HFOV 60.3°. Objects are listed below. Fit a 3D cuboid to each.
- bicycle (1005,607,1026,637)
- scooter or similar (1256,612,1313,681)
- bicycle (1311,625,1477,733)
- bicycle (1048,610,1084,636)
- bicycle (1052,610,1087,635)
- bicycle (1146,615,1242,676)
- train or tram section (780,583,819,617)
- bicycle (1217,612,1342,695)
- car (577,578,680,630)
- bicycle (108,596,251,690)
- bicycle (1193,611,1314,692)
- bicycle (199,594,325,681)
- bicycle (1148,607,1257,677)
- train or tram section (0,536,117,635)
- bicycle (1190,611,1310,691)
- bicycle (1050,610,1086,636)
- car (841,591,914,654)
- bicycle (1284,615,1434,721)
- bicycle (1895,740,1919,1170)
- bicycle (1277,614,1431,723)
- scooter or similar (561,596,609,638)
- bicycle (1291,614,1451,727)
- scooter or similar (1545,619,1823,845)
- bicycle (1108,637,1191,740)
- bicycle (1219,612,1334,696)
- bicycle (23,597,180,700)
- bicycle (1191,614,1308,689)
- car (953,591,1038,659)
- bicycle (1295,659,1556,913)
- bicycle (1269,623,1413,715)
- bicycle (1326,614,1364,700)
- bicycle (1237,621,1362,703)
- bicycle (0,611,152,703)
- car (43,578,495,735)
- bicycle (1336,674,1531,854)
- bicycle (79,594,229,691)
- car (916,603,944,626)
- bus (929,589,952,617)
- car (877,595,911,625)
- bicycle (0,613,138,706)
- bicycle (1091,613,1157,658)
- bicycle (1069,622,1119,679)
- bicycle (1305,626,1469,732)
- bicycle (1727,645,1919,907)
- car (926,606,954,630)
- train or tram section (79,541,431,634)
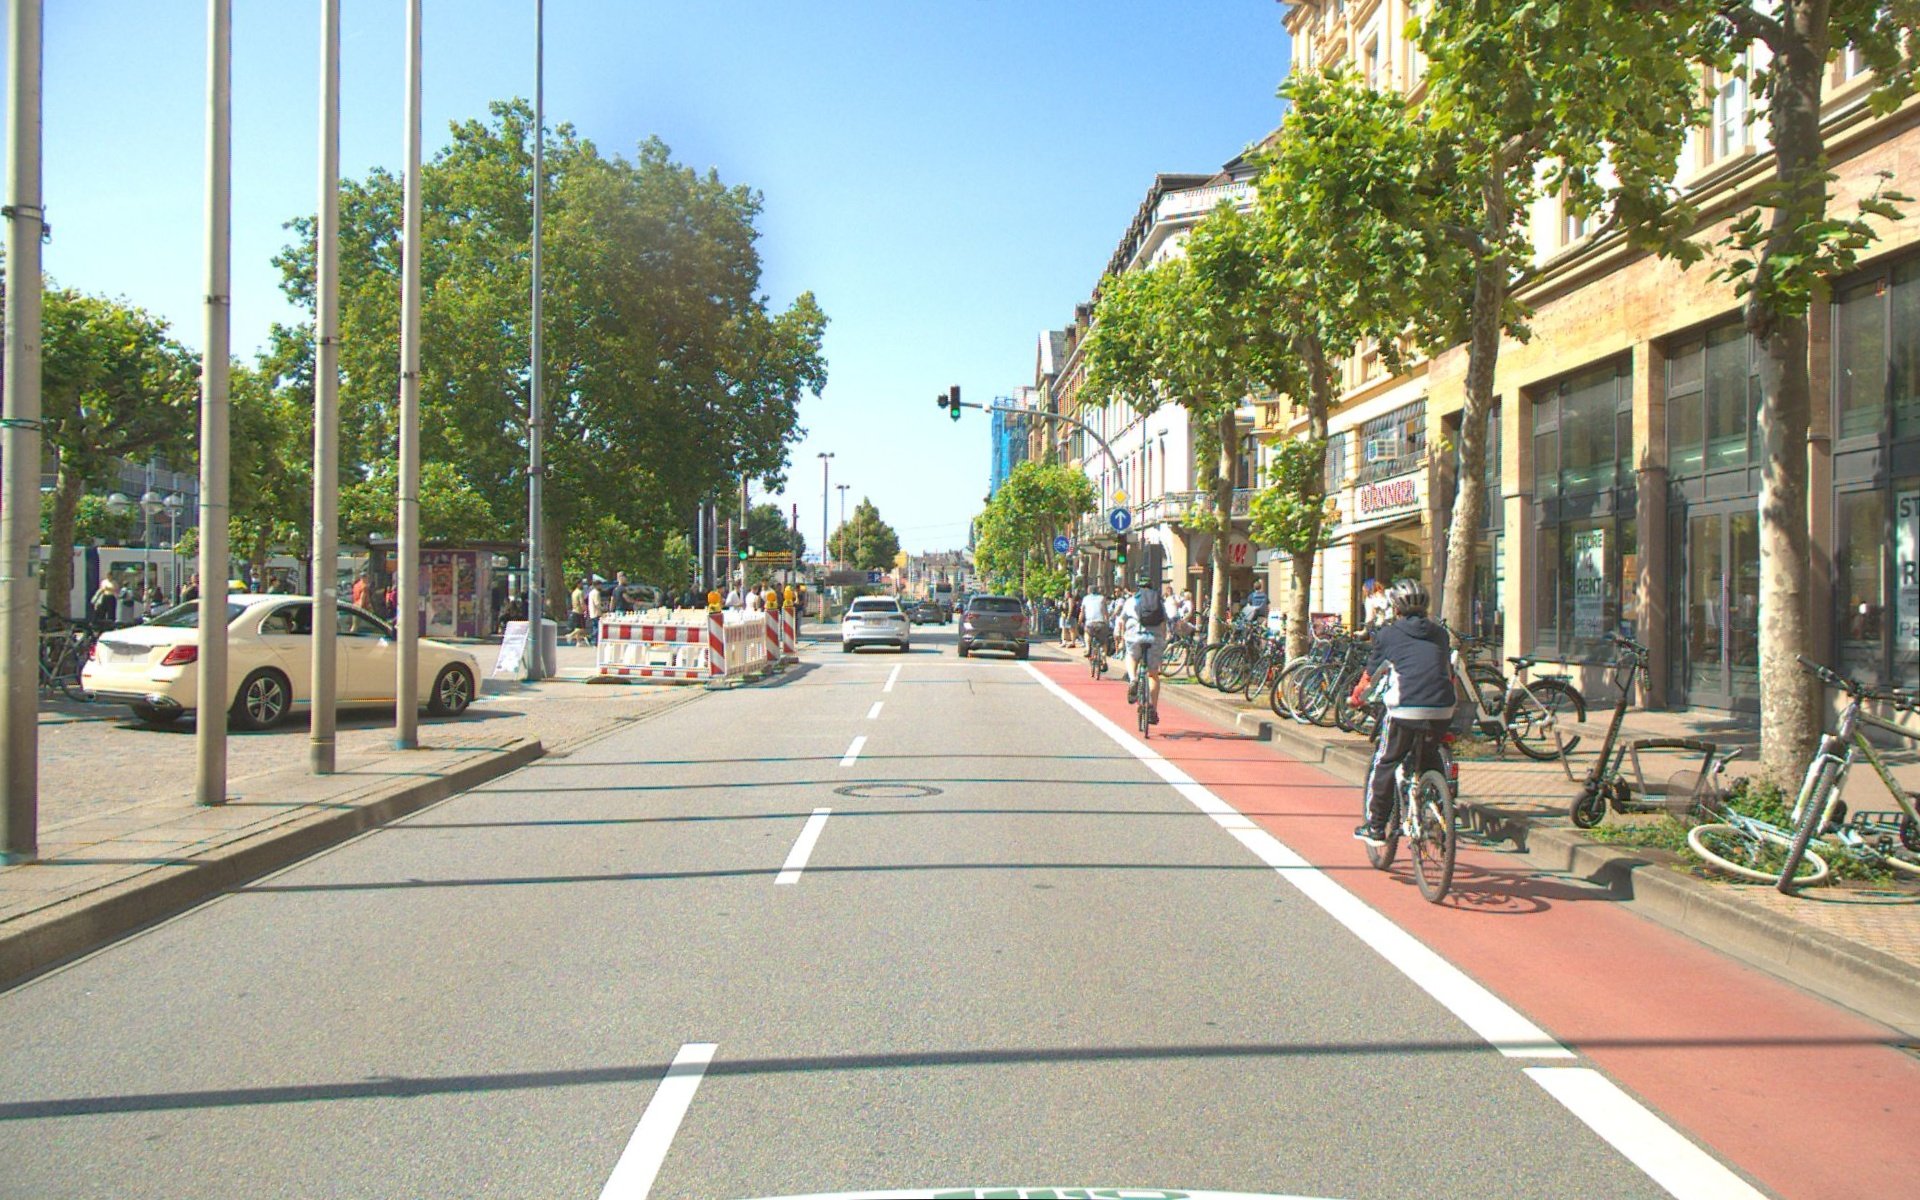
[{"bbox_3d":[1.954,0.769,58.657,0.634,1.015,2.030,1,0,-1],"label":"bicycle"},{"bbox_3d":[5.809,0.826,29.664,0.414,1.198,1.224,1,0,-21],"label":"scooter or similar"},{"bbox_3d":[4.713,0.854,17.995,1.692,1.128,0.402,1,0,1],"label":"bicycle"},{"bbox_3d":[4.176,0.915,65.412,1.391,0.997,0.445,-1,1,-1],"label":"bicycle"},{"bbox_3d":[4.437,0.917,67.261,1.391,0.997,0.401,-1,1,-1],"label":"bicycle"},{"bbox_3d":[4.490,0.871,31.737,1.746,1.142,0.562,0,0,-4],"label":"bicycle"},{"bbox_3d":[-16.873,-0.023,174.790,2.558,3.407,11.005,1,0,2],"label":"train or tram section"},{"bbox_3d":[4.841,0.806,25.138,1.805,1.222,0.474,1,0,1],"label":"bicycle"},{"bbox_3d":[-13.188,0.190,66.007,1.820,1.989,4.762,0,-1,20],"label":"car"},{"bbox_3d":[-11.401,0.625,24.188,1.746,1.332,0.662,1,0,-4],"label":"bicycle"},{"bbox_3d":[4.595,0.801,25.939,1.805,1.222,0.545,1,0,1],"label":"bicycle"},{"bbox_3d":[-11.628,0.614,27.592,1.746,1.371,0.740,2,0,-4],"label":"bicycle"},{"bbox_3d":[4.527,0.779,30.858,1.904,1.279,0.701,1,0,-21],"label":"bicycle"},{"bbox_3d":[-38.009,-0.565,62.642,2.567,3.741,10.967,1,0,34],"label":"train or tram section"},{"bbox_3d":[4.623,0.807,26.446,1.805,1.222,0.608,1,0,1],"label":"bicycle"},{"bbox_3d":[4.318,0.914,65.876,1.391,0.997,0.445,-1,1,-1],"label":"bicycle"},{"bbox_3d":[-2.166,0.566,44.297,1.808,1.587,3.999,0,0,-1],"label":"car"},{"bbox_3d":[4.809,0.809,19.993,1.692,1.238,0.477,1,0,1],"label":"bicycle"},{"bbox_3d":[3.006,0.971,3.546,0.684,1.146,2.079,2,0,-4],"label":"bicycle"},{"bbox_3d":[4.634,0.803,19.499,1.692,1.238,0.477,1,0,1],"label":"bicycle"},{"bbox_3d":[-13.029,0.600,57.534,1.252,1.445,1.037,0,-1,29],"label":"scooter or similar"},{"bbox_3d":[4.653,0.793,18.774,1.692,1.238,0.477,1,0,1],"label":"bicycle"},{"bbox_3d":[4.482,0.792,10.330,1.443,1.297,0.670,2,0,10],"label":"scooter or similar"},{"bbox_3d":[2.078,0.951,18.356,0.617,0.997,2.088,1,0,-2],"label":"bicycle"},{"bbox_3d":[4.722,0.803,24.723,1.615,1.222,0.474,1,0,1],"label":"bicycle"},{"bbox_3d":[-11.382,0.640,21.967,1.746,1.332,0.562,1,0,-4],"label":"bicycle"},{"bbox_3d":[4.729,0.833,27.078,1.805,1.184,0.659,1,0,1],"label":"bicycle"},{"bbox_3d":[0.857,0.596,41.967,1.809,1.586,3.997,1,0,-3],"label":"car"},{"bbox_3d":[2.480,0.943,9.091,0.684,1.146,2.079,2,0,-4],"label":"bicycle"},{"bbox_3d":[4.819,0.869,20.989,1.692,1.114,0.607,1,0,1],"label":"bicycle"},{"bbox_3d":[5.707,0.821,24.547,0.462,1.208,1.656,1,0,11],"label":"bicycle"},{"bbox_3d":[4.751,0.860,23.200,1.615,1.114,0.607,1,0,1],"label":"bicycle"},{"bbox_3d":[-11.485,0.731,21.394,1.746,1.152,0.562,1,0,-4],"label":"bicycle"},{"bbox_3d":[-7.885,0.631,19.459,1.854,1.569,4.856,1,-1,26],"label":"car"},{"bbox_3d":[3.073,1.031,10.948,0.588,0.942,2.086,1,1,-3],"label":"bicycle"},{"bbox_3d":[-11.319,0.591,23.257,1.746,1.332,0.662,1,0,-4],"label":"bicycle"},{"bbox_3d":[-1.993,0.936,108.727,1.808,1.438,3.999,1,0,-2],"label":"car"},{"bbox_3d":[-2.614,0.458,219.477,2.934,3.657,11.740,1,-1,-2],"label":"bus"},{"bbox_3d":[-3.618,0.544,91.313,1.808,1.587,3.999,1,0,-2],"label":"car"},{"bbox_3d":[-11.323,0.733,20.708,1.746,1.124,0.562,1,0,-4],"label":"bicycle"},{"bbox_3d":[4.128,0.889,41.729,0.595,1.101,1.816,-2,0,-35],"label":"bicycle"},{"bbox_3d":[2.593,0.972,32.273,0.758,1.023,2.329,0,0,-1],"label":"bicycle"},{"bbox_3d":[4.740,0.870,18.415,1.692,1.128,0.477,1,0,1],"label":"bicycle"},{"bbox_3d":[4.851,0.863,8.151,1.801,1.206,0.670,2,0,4],"label":"bicycle"},{"bbox_3d":[-1.582,1.367,127.679,1.809,1.697,3.996,2,0,-5],"label":"car"},{"bbox_3d":[-30.708,-0.466,73.499,2.567,3.741,15.498,1,0,34],"label":"train or tram section"}]
